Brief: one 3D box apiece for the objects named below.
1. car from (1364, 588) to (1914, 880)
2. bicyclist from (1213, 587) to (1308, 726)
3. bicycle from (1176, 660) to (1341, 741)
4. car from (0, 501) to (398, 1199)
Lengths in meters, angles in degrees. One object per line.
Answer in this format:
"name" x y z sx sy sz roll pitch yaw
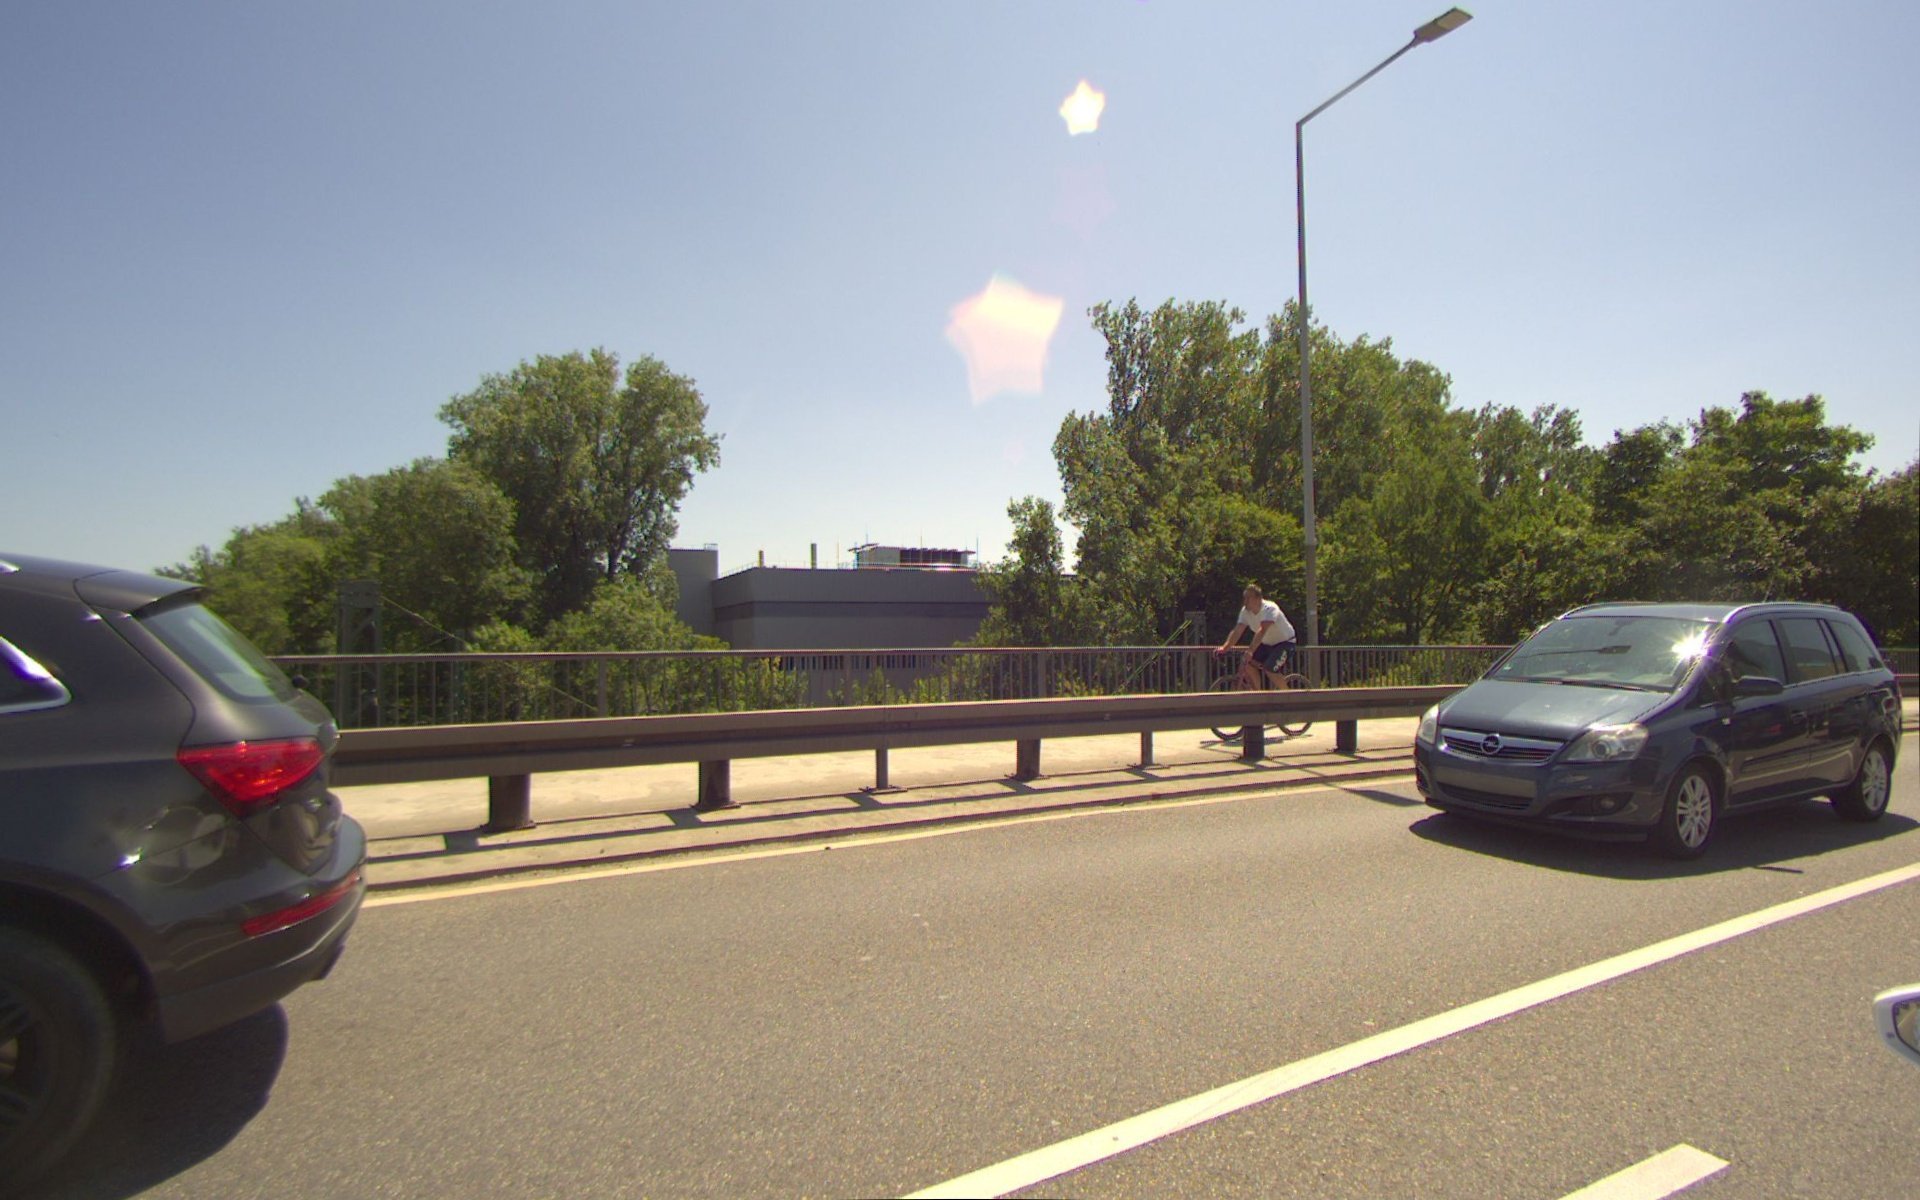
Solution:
"car" 5.120 0.792 7.457 4.202 1.648 1.699 1 0 -30
"bicyclist" 3.463 0.635 11.580 0.884 1.541 0.581 1 -1 -27
"bicycle" 3.452 1.128 11.567 1.966 0.844 0.586 1 -1 -27
"car" -3.825 0.582 2.410 4.252 1.662 1.791 1 -1 -32
